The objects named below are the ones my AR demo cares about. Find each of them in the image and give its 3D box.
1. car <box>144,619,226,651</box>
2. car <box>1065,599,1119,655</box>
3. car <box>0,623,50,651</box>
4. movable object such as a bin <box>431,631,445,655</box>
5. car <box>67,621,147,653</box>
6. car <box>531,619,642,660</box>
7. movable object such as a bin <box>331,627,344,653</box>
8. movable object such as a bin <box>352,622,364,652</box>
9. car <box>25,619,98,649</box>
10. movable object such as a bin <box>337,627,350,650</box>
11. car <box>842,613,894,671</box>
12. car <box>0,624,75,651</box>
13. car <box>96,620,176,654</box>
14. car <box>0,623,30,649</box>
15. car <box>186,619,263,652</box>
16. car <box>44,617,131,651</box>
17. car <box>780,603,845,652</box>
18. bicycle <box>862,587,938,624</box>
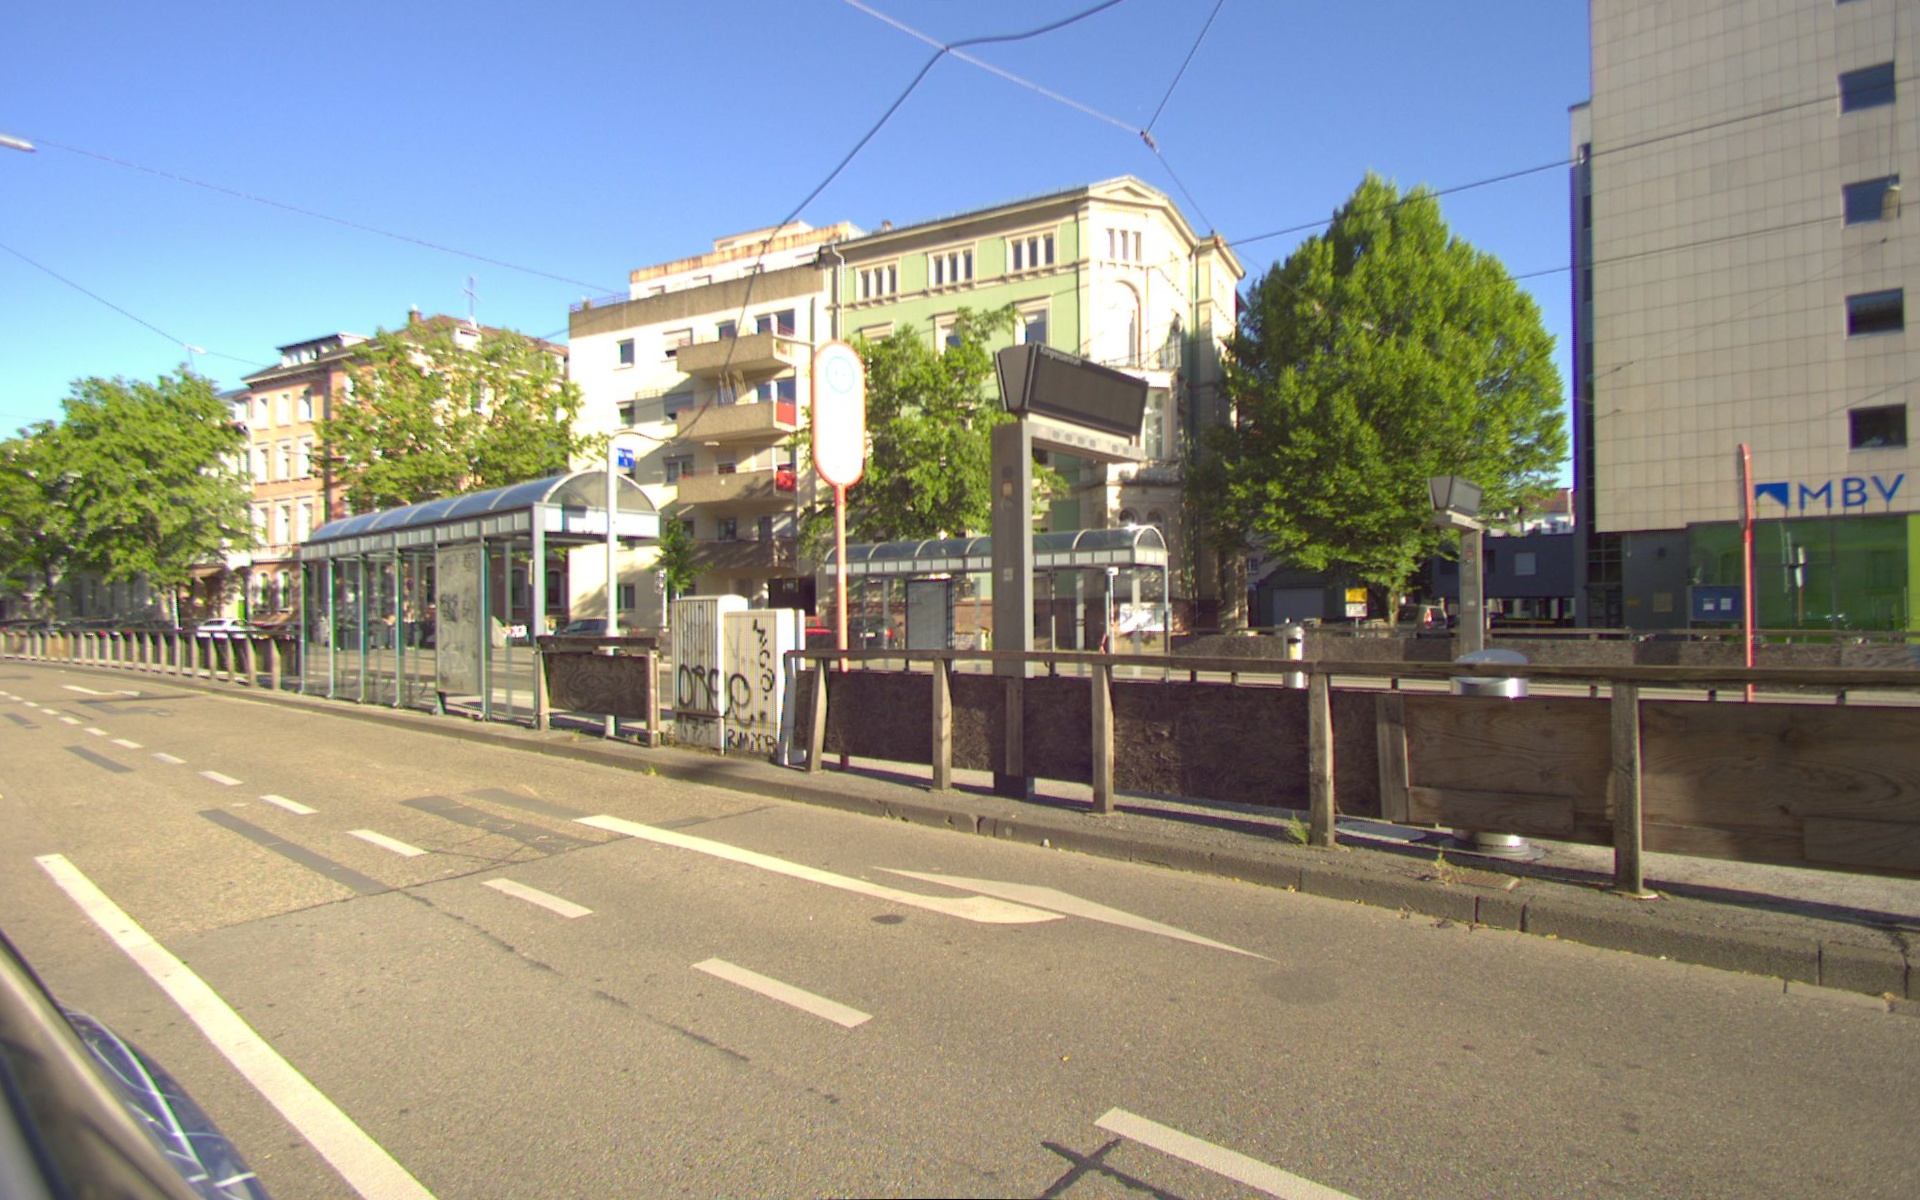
[{"bbox_3d":[-42.541,1.891,55.656,1.664,1.519,3.926,-2,1,-3],"label":"car"},{"bbox_3d":[4.182,0.791,31.824,1.572,1.581,4.504,0,0,8],"label":"car"},{"bbox_3d":[-60.987,2.358,64.943,1.748,1.666,3.871,-1,1,-1],"label":"car"},{"bbox_3d":[-25.021,2.054,48.487,0.551,1.105,0.376,0,-1,34],"label":"movable object such as a bin"},{"bbox_3d":[-49.356,2.125,58.684,1.609,1.629,3.993,-2,1,-7],"label":"car"},{"bbox_3d":[-14.339,1.483,38.786,4.278,1.421,1.693,-1,2,32],"label":"car"},{"bbox_3d":[-29.837,1.915,48.499,0.639,1.212,0.375,-1,-2,40],"label":"movable object such as a bin"},{"bbox_3d":[-28.643,1.754,48.136,0.385,1.437,0.375,-1,-2,40],"label":"movable object such as a bin"},{"bbox_3d":[-55.435,2.075,62.494,1.682,1.544,3.284,-2,2,-3],"label":"car"},{"bbox_3d":[-29.005,1.819,47.612,0.639,1.076,0.375,-1,-2,40],"label":"movable object such as a bin"},{"bbox_3d":[-2.982,1.309,33.043,1.566,1.654,4.520,0,0,-5],"label":"car"},{"bbox_3d":[-58.518,2.371,64.012,1.745,1.496,3.823,-1,1,-1],"label":"car"},{"bbox_3d":[-46.861,2.075,57.662,1.609,1.629,3.993,-2,1,-7],"label":"car"},{"bbox_3d":[-63.803,2.394,66.568,1.748,1.666,3.872,-1,1,-1],"label":"car"},{"bbox_3d":[-39.486,1.874,54.427,1.708,1.533,3.924,-2,1,-9],"label":"car"},{"bbox_3d":[-52.242,2.029,60.715,1.682,1.735,4.290,-1,2,-4],"label":"car"},{"bbox_3d":[-4.764,0.851,33.182,1.845,1.436,4.520,0,0,-5],"label":"car"},{"bbox_3d":[-2.352,0.226,39.217,2.995,1.409,0.713,-1,-1,27],"label":"bicycle"}]
